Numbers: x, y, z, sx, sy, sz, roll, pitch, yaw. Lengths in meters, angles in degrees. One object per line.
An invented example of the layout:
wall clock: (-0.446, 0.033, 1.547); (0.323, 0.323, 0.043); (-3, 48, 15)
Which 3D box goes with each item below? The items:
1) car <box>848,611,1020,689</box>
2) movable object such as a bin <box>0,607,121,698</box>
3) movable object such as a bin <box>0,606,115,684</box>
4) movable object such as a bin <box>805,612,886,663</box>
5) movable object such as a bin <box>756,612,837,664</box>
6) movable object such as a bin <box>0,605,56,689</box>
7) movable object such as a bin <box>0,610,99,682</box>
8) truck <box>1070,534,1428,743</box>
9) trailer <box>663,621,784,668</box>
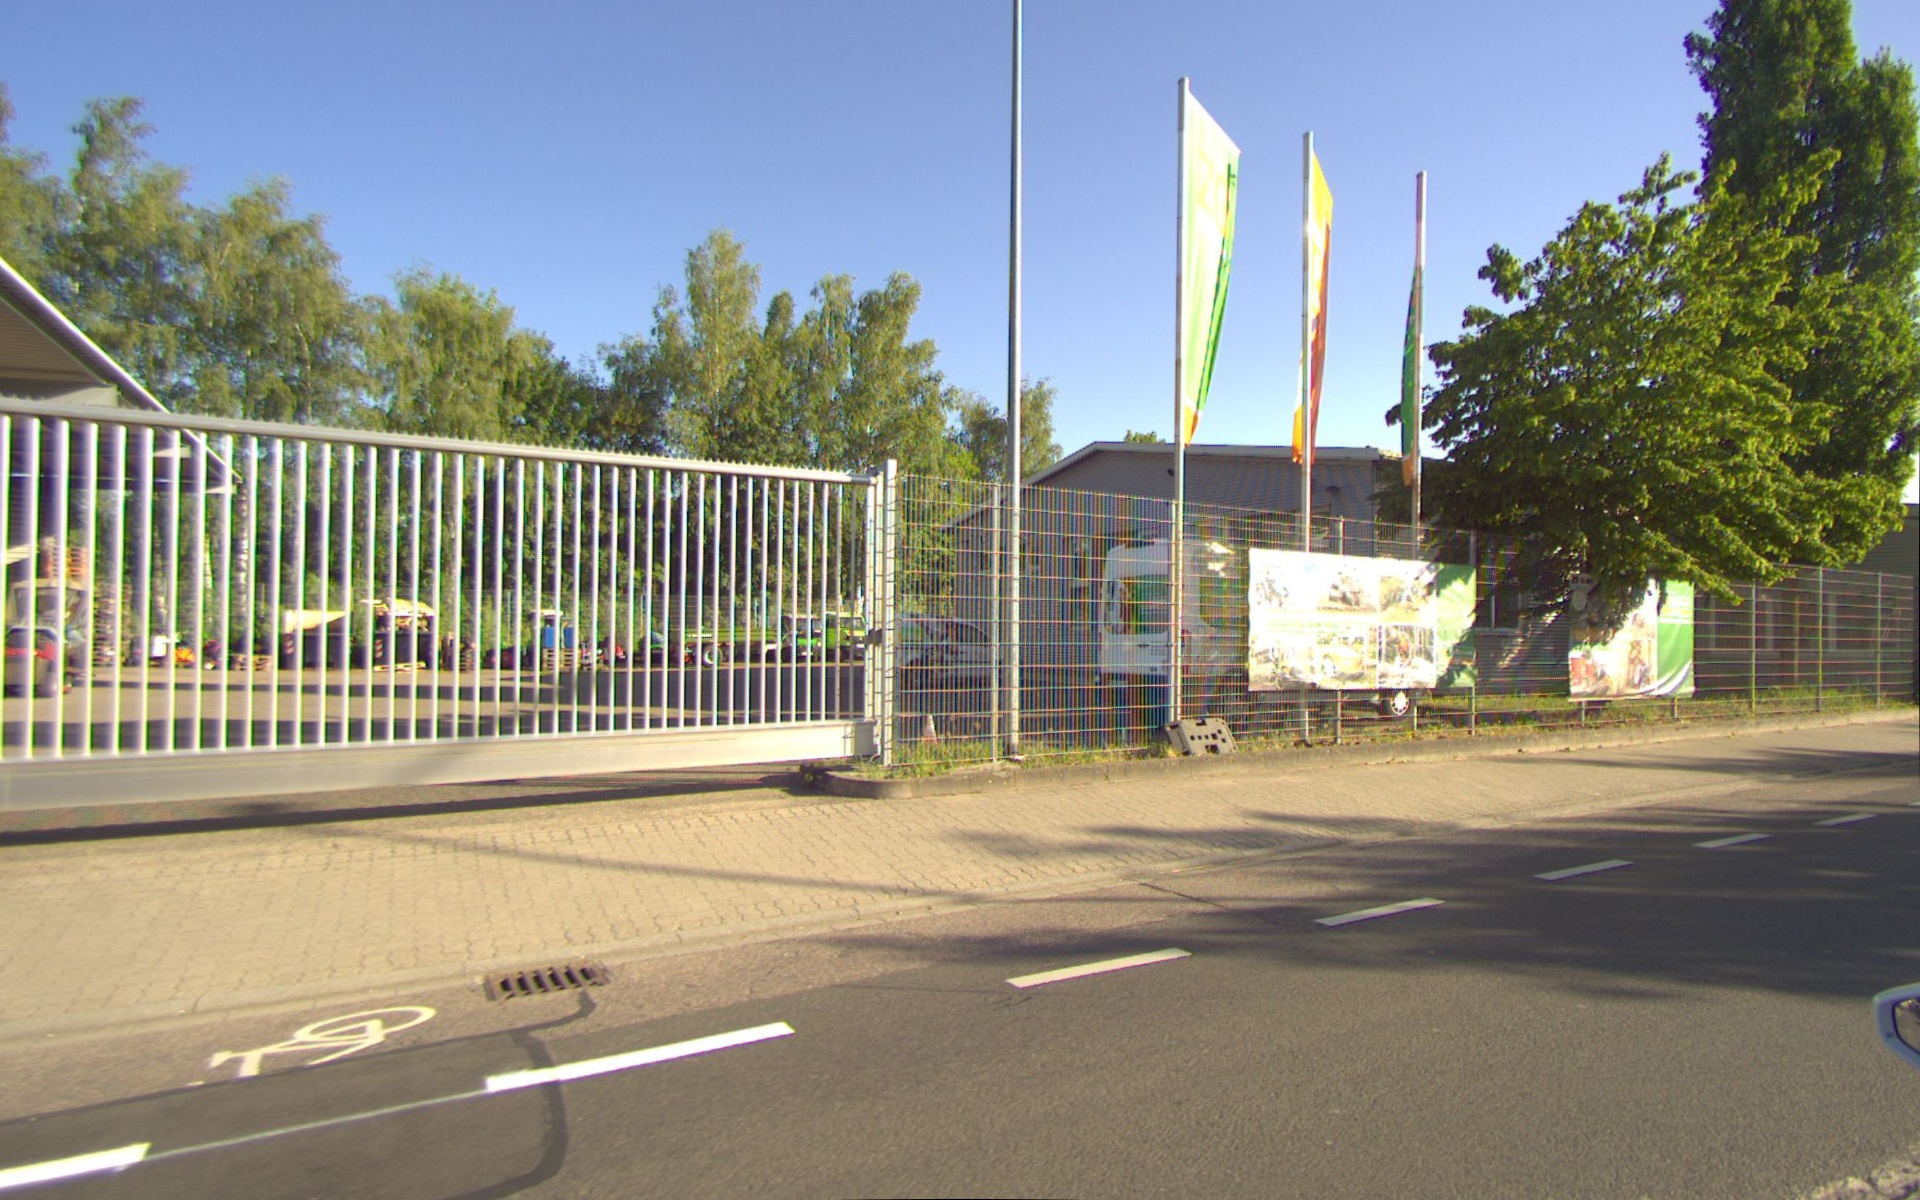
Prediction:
car: (-0.649, 1.233, 25.562); (3.953, 1.839, 1.984); (1, -1, -30)
movable object such as a bin: (-16.322, 0.885, 17.221); (2.725, 1.510, 1.321); (2, -2, -30)
movable object such as a bin: (-18.865, 0.893, 20.128); (2.725, 1.510, 1.321); (2, -2, -30)
movable object such as a bin: (-4.921, 1.557, 42.787); (1.978, 2.040, 3.966); (0, -1, -32)
movable object such as a bin: (-6.829, 1.520, 41.609); (1.978, 2.040, 3.966); (0, -1, -32)
movable object such as a bin: (-18.291, 0.831, 18.091); (2.725, 1.510, 1.321); (2, -2, -30)
movable object such as a bin: (-20.513, 0.985, 21.651); (2.726, 1.510, 1.321); (2, -2, -31)
truck: (4.639, 0.566, 15.792); (5.697, 2.798, 2.069); (1, -1, -30)
trailer: (-8.698, 1.580, 36.963); (3.951, 1.610, 1.985); (0, -1, -29)
